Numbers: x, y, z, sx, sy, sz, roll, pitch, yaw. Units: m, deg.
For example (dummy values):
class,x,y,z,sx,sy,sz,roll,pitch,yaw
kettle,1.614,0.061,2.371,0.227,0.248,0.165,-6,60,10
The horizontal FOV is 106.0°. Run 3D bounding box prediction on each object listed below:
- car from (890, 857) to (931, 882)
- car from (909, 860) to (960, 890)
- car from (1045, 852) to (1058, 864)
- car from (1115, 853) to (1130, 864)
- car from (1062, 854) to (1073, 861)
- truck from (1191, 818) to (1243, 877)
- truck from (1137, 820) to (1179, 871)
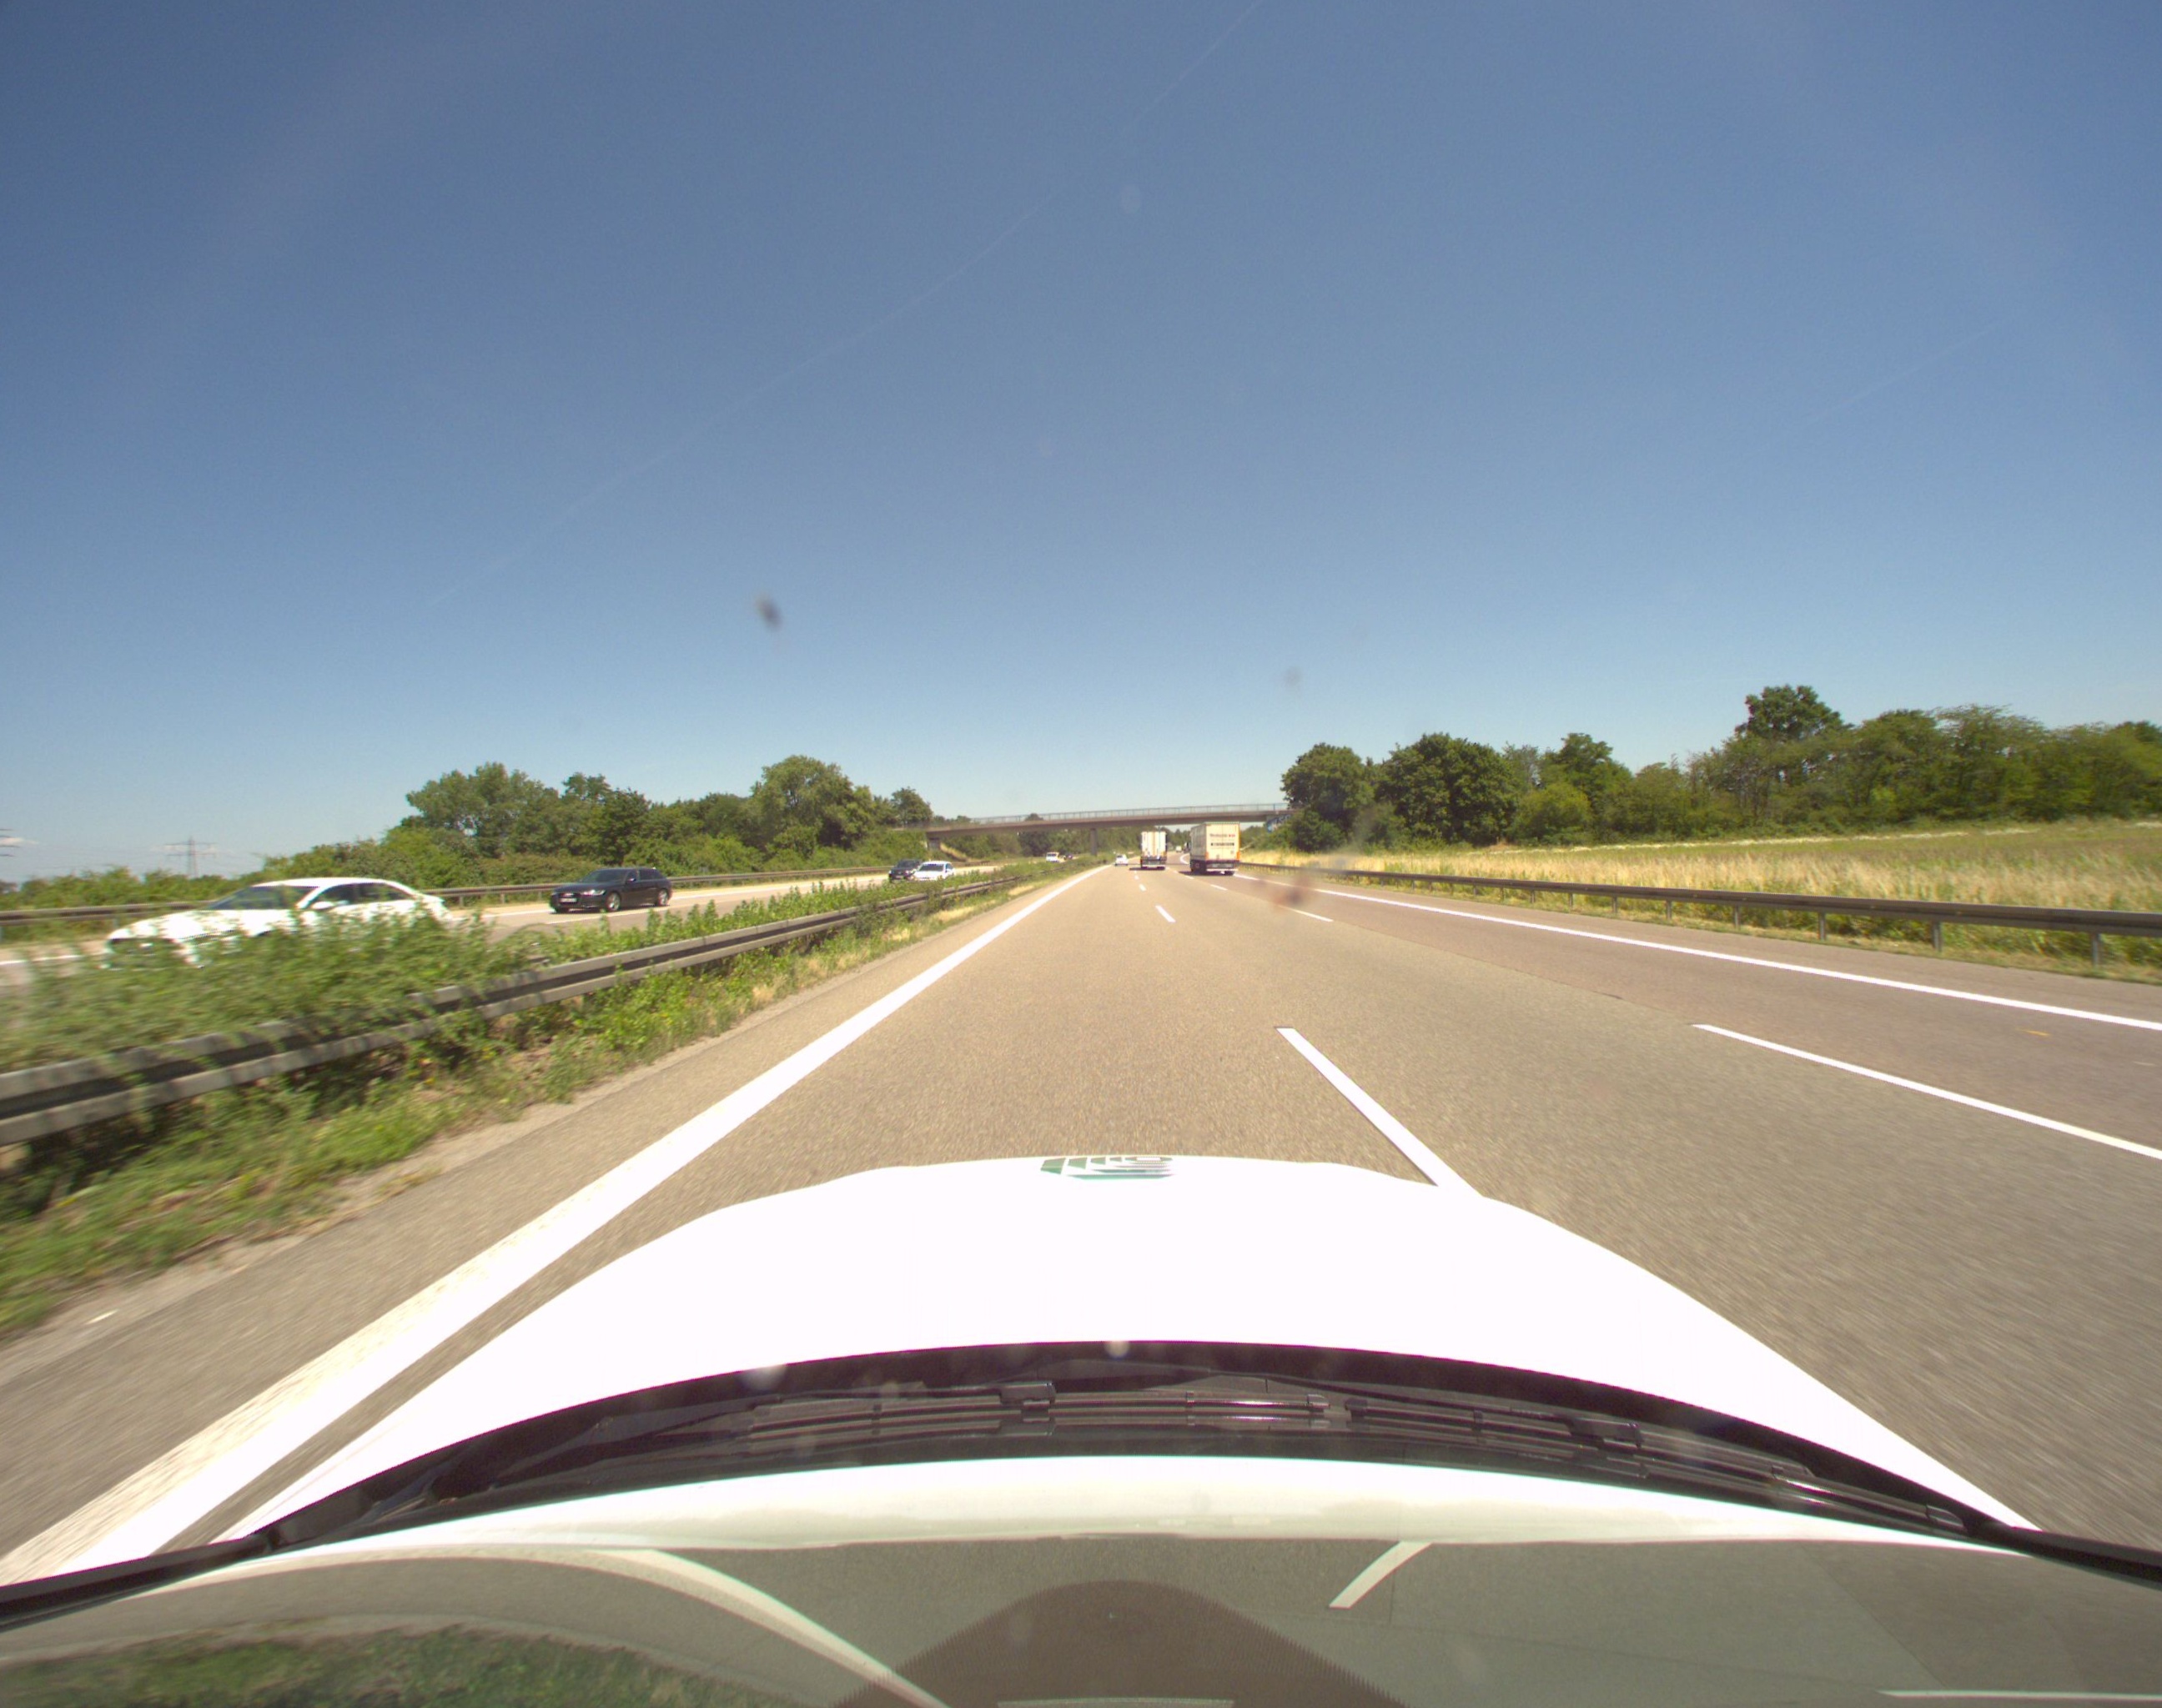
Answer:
class,x,y,z,sx,sy,sz,roll,pitch,yaw
car,-11.209,1.018,53.670,1.638,1.561,4.069,-1,-1,3
car,-7.799,1.080,43.644,1.677,1.490,4.731,-1,-1,2
car,-5.059,0.745,140.481,1.820,2.013,5.335,0,0,4
car,5.713,0.630,111.375,1.818,1.547,4.327,0,0,6
car,-3.138,0.850,191.048,1.818,1.461,4.328,0,0,7
truck,11.093,-0.562,68.028,3.166,4.304,16.042,-1,0,5
truck,8.141,-0.936,88.505,3.652,5.018,16.026,-1,0,2
